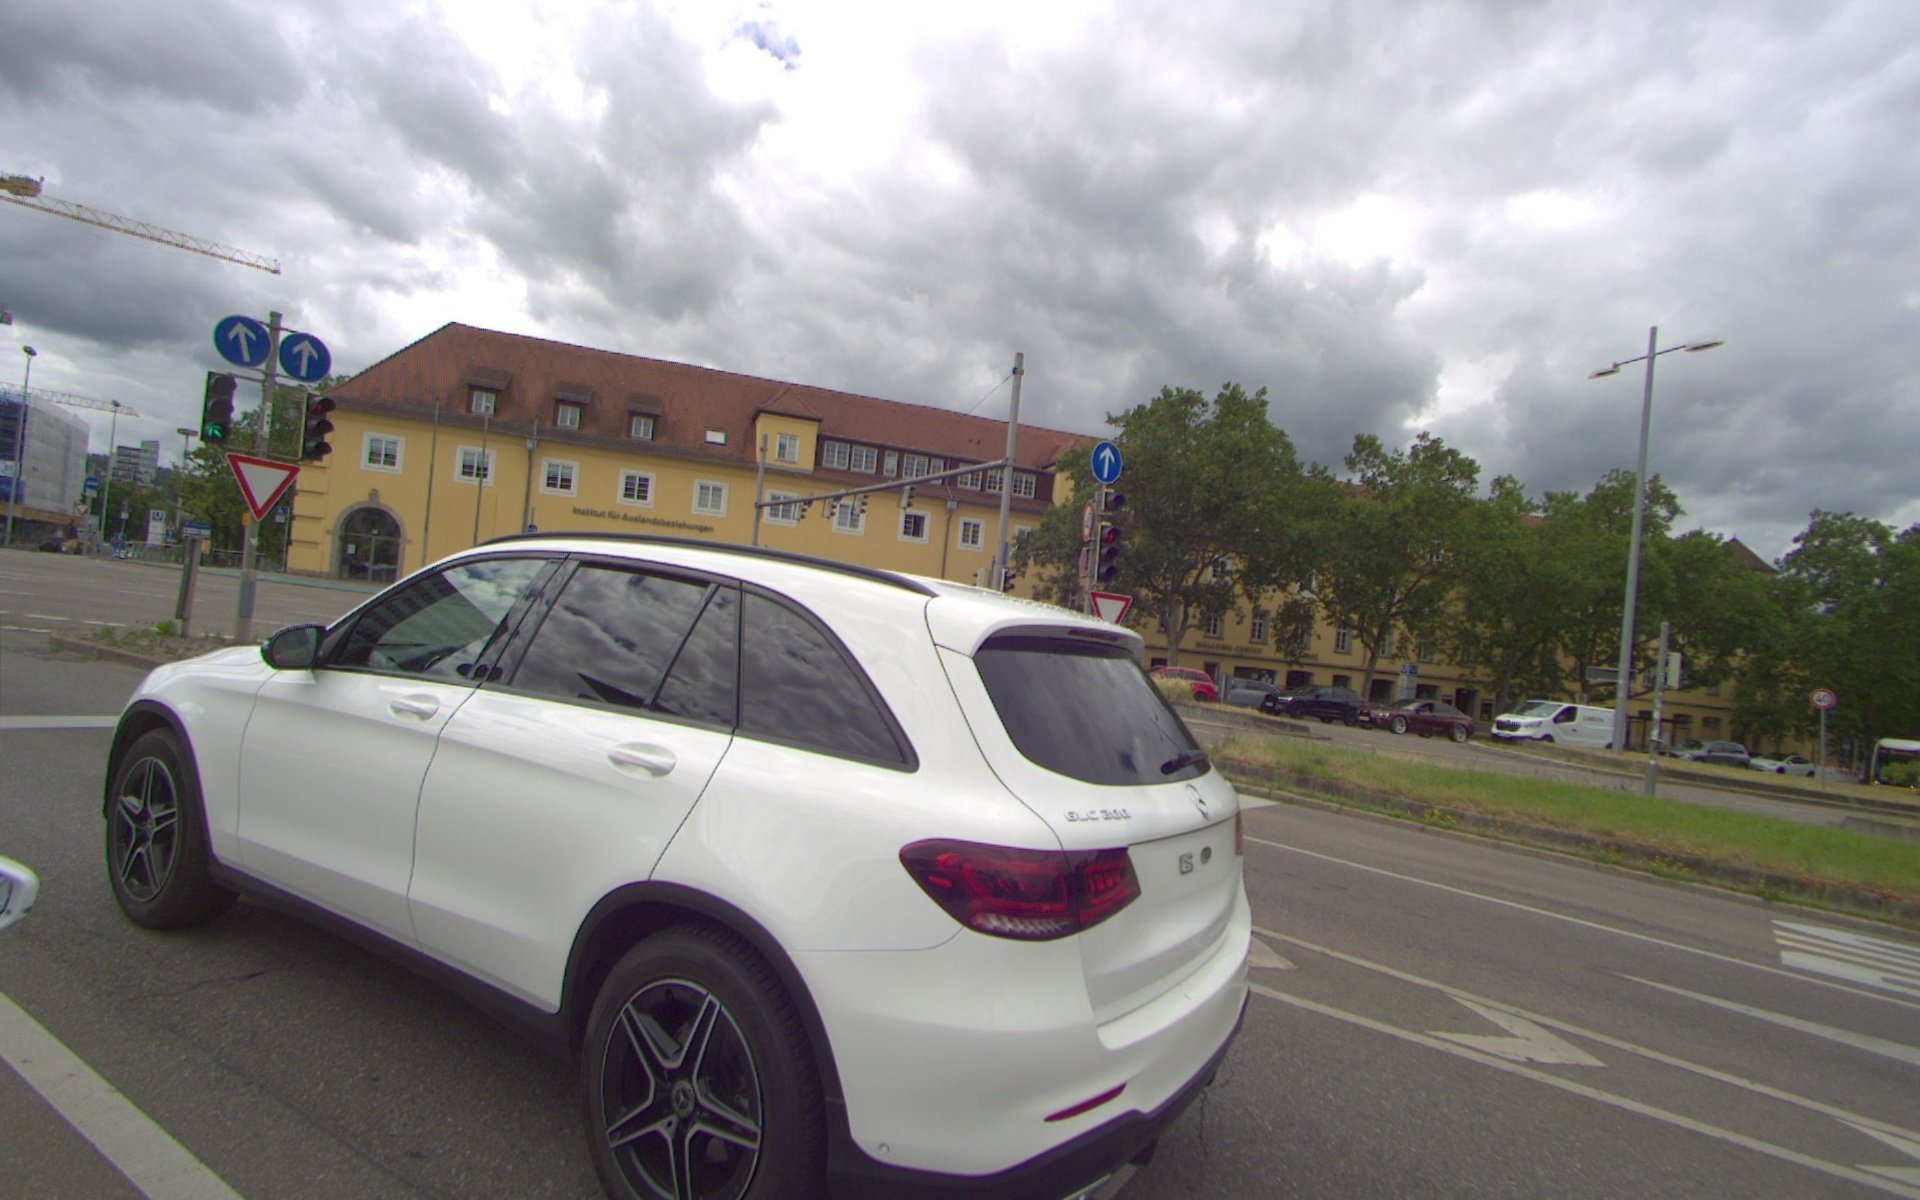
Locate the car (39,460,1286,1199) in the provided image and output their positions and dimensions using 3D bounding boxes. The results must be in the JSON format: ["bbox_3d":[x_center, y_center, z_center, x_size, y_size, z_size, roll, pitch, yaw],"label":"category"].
[{"bbox_3d":[-1.301,0.581,3.696,4.305,1.667,1.822,7,-1,31],"label":"car"}]

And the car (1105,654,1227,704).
[{"bbox_3d":[8.503,3.248,41.558,4.624,1.437,1.591,8,-1,-18],"label":"car"}]

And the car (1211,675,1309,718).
[{"bbox_3d":[13.903,4.464,46.614,4.030,1.430,1.653,8,-1,-18],"label":"car"}]

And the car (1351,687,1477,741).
[{"bbox_3d":[17.069,4.279,37.845,4.185,1.437,1.653,8,-1,-18],"label":"car"}]

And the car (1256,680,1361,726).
[{"bbox_3d":[15.172,4.481,43.785,4.030,1.430,1.653,8,-1,-18],"label":"car"}]

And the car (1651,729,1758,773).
[{"bbox_3d":[34.735,7.042,46.936,4.486,1.437,1.653,8,-1,-18],"label":"car"}]

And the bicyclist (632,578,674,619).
[{"bbox_3d":[-9.867,-0.049,32.323,0.714,1.172,0.924,7,-2,36],"label":"bicyclist"}]

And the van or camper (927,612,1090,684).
[{"bbox_3d":[1.889,1.900,39.679,5.930,2.037,2.015,8,-1,-14],"label":"van or camper"}]

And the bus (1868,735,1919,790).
[{"bbox_3d":[60.070,10.270,61.716,9.544,2.884,2.557,8,-1,-23],"label":"bus"}]

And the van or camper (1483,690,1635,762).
[{"bbox_3d":[21.653,4.553,36.360,5.078,1.913,1.653,8,-1,-18],"label":"van or camper"}]

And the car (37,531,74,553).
[{"bbox_3d":[-74.247,-4.771,82.624,1.794,1.520,3.941,8,-2,-37],"label":"car"}]

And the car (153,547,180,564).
[{"bbox_3d":[-118.426,-6.702,150.104,3.939,2.037,1.994,6,-1,37],"label":"car"}]

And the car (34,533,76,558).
[{"bbox_3d":[-65.870,-3.990,73.244,1.794,1.520,3.941,8,-2,-37],"label":"car"}]

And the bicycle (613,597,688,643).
[{"bbox_3d":[-9.961,0.641,32.316,2.427,1.172,0.924,6,-2,36],"label":"bicycle"}]

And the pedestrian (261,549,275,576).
[{"bbox_3d":[-44.714,-2.419,64.995,0.539,1.616,0.736,8,-1,-34],"label":"pedestrian"}]

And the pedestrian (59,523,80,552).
[{"bbox_3d":[-42.545,-3.001,48.062,0.545,1.296,0.458,8,-1,-34],"label":"pedestrian"}]

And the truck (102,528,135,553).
[{"bbox_3d":[-93.898,-6.660,112.328,2.115,2.482,4.784,8,-1,-34],"label":"truck"}]
